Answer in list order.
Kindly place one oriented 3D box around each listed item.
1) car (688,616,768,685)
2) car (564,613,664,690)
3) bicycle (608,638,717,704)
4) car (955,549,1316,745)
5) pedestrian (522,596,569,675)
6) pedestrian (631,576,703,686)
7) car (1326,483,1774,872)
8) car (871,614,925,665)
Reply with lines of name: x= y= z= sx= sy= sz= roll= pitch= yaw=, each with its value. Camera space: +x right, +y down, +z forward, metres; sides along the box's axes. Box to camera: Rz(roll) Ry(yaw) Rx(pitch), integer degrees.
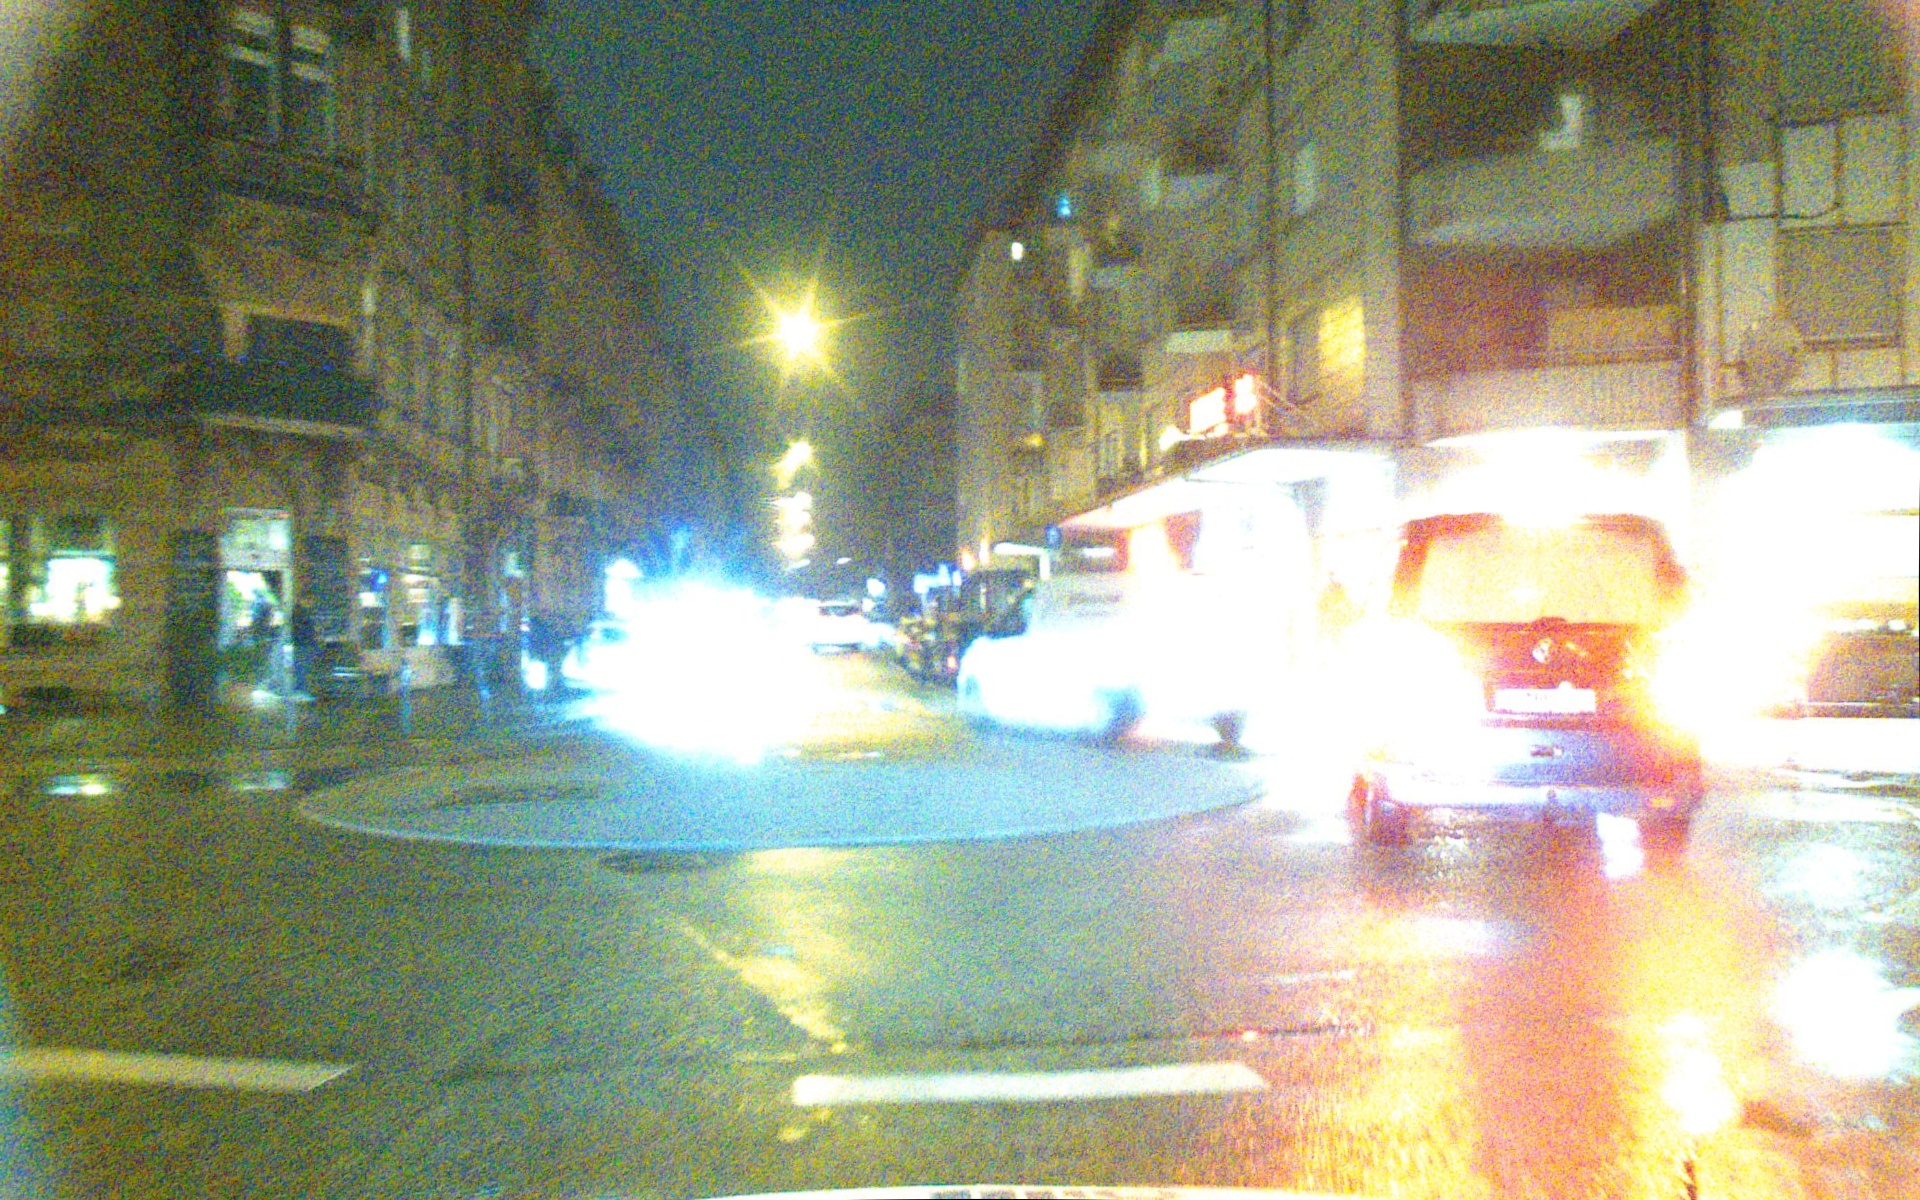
car: x=-5.385 y=1.139 z=38.746 sx=1.532 sy=1.452 sz=4.065 roll=-2 pitch=0 yaw=-4
car: x=-7.337 y=1.052 z=35.363 sx=1.555 sy=1.489 sz=4.019 roll=3 pitch=-1 yaw=-5
bicycle: x=-5.115 y=1.219 z=28.511 sx=1.759 sy=1.078 sz=0.714 roll=-1 pitch=0 yaw=-2
car: x=1.843 y=0.490 z=19.191 sx=2.094 sy=1.956 sz=4.790 roll=1 pitch=0 yaw=-24
pedestrian: x=-9.597 y=0.823 z=38.316 sx=0.787 sy=1.797 sz=1.015 roll=1 pitch=-1 yaw=0
pedestrian: x=-5.044 y=0.527 z=28.512 sx=1.099 sy=1.843 sz=0.714 roll=-1 pitch=0 yaw=-2
car: x=3.613 y=0.425 z=11.066 sx=2.077 sy=2.026 sz=4.604 roll=0 pitch=-1 yaw=10
car: x=-2.041 y=1.272 z=53.416 sx=1.561 sy=1.570 sz=3.416 roll=1 pitch=-2 yaw=-5
